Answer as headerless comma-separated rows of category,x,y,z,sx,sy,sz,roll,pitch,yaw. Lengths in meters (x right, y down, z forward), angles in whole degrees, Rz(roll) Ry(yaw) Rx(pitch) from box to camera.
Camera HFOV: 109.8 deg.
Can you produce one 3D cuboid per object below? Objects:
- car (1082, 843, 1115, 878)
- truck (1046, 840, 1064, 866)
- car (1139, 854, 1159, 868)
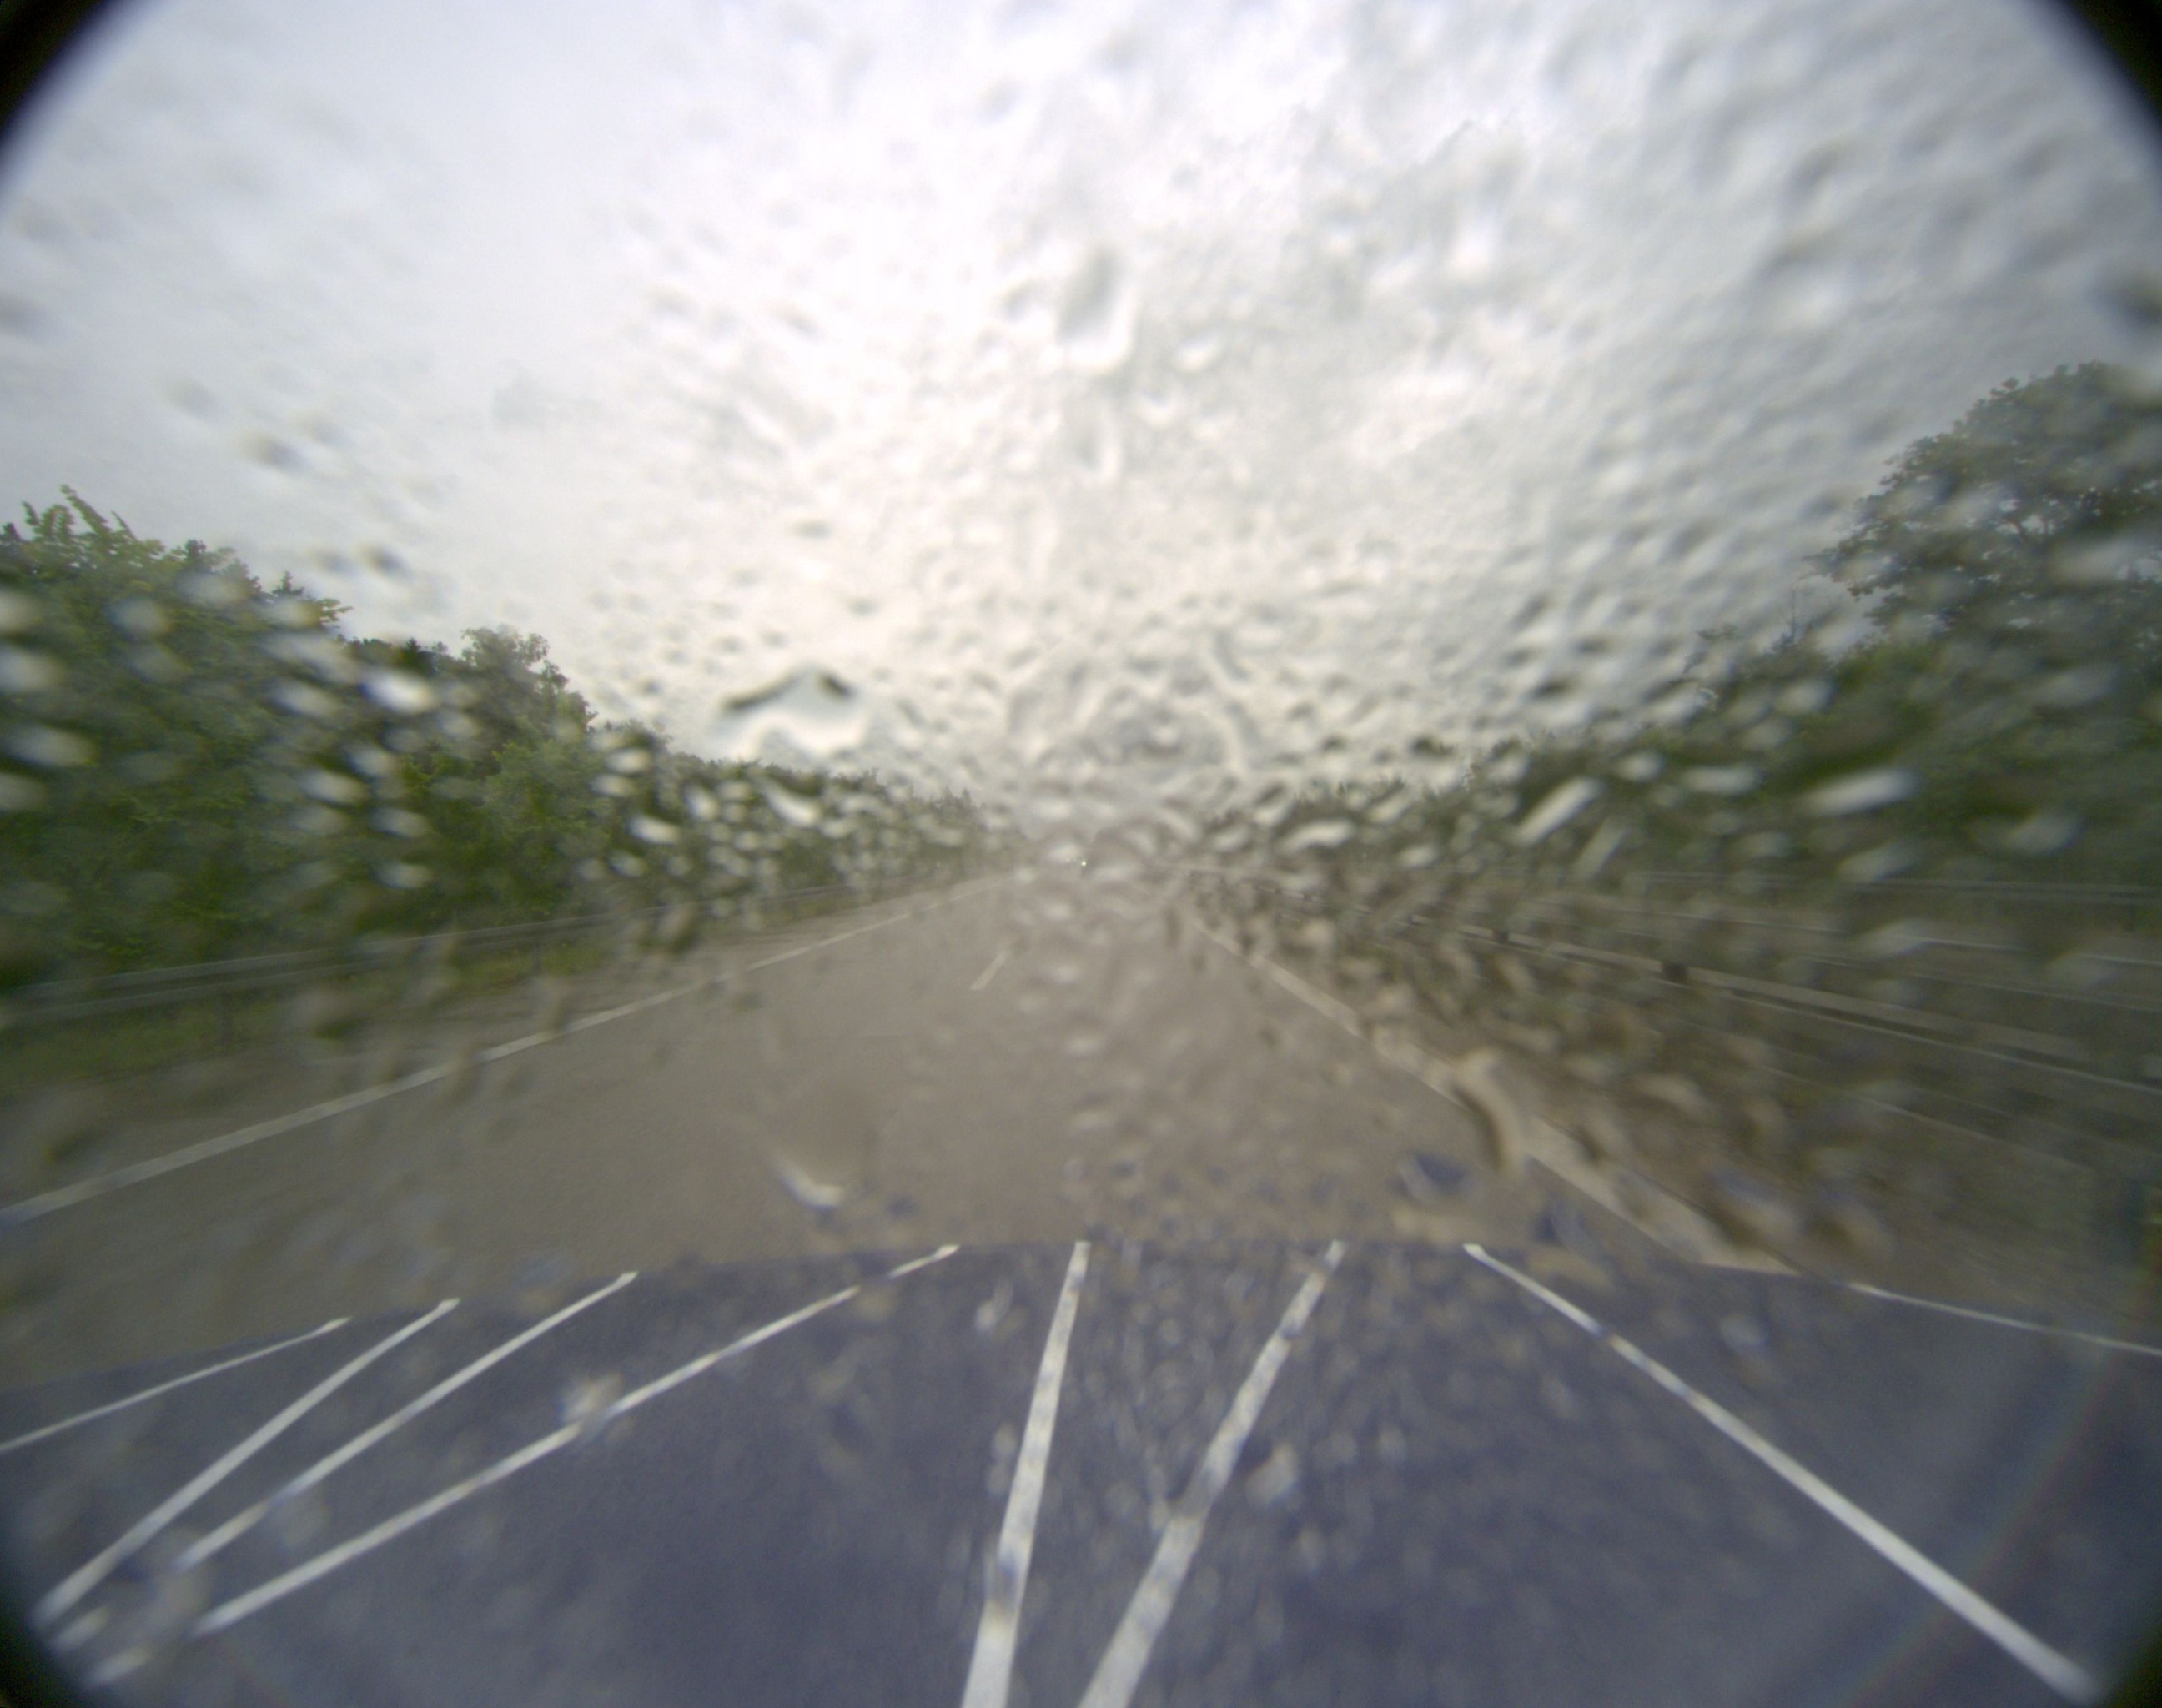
car,1.061,0.431,47.750,1.796,2.113,4.524,1,-1,-2
truck,-4.126,-0.131,119.847,2.767,4.063,5.437,1,-1,-2
car,7.356,0.743,82.939,1.768,1.455,3.846,1,-1,-1
